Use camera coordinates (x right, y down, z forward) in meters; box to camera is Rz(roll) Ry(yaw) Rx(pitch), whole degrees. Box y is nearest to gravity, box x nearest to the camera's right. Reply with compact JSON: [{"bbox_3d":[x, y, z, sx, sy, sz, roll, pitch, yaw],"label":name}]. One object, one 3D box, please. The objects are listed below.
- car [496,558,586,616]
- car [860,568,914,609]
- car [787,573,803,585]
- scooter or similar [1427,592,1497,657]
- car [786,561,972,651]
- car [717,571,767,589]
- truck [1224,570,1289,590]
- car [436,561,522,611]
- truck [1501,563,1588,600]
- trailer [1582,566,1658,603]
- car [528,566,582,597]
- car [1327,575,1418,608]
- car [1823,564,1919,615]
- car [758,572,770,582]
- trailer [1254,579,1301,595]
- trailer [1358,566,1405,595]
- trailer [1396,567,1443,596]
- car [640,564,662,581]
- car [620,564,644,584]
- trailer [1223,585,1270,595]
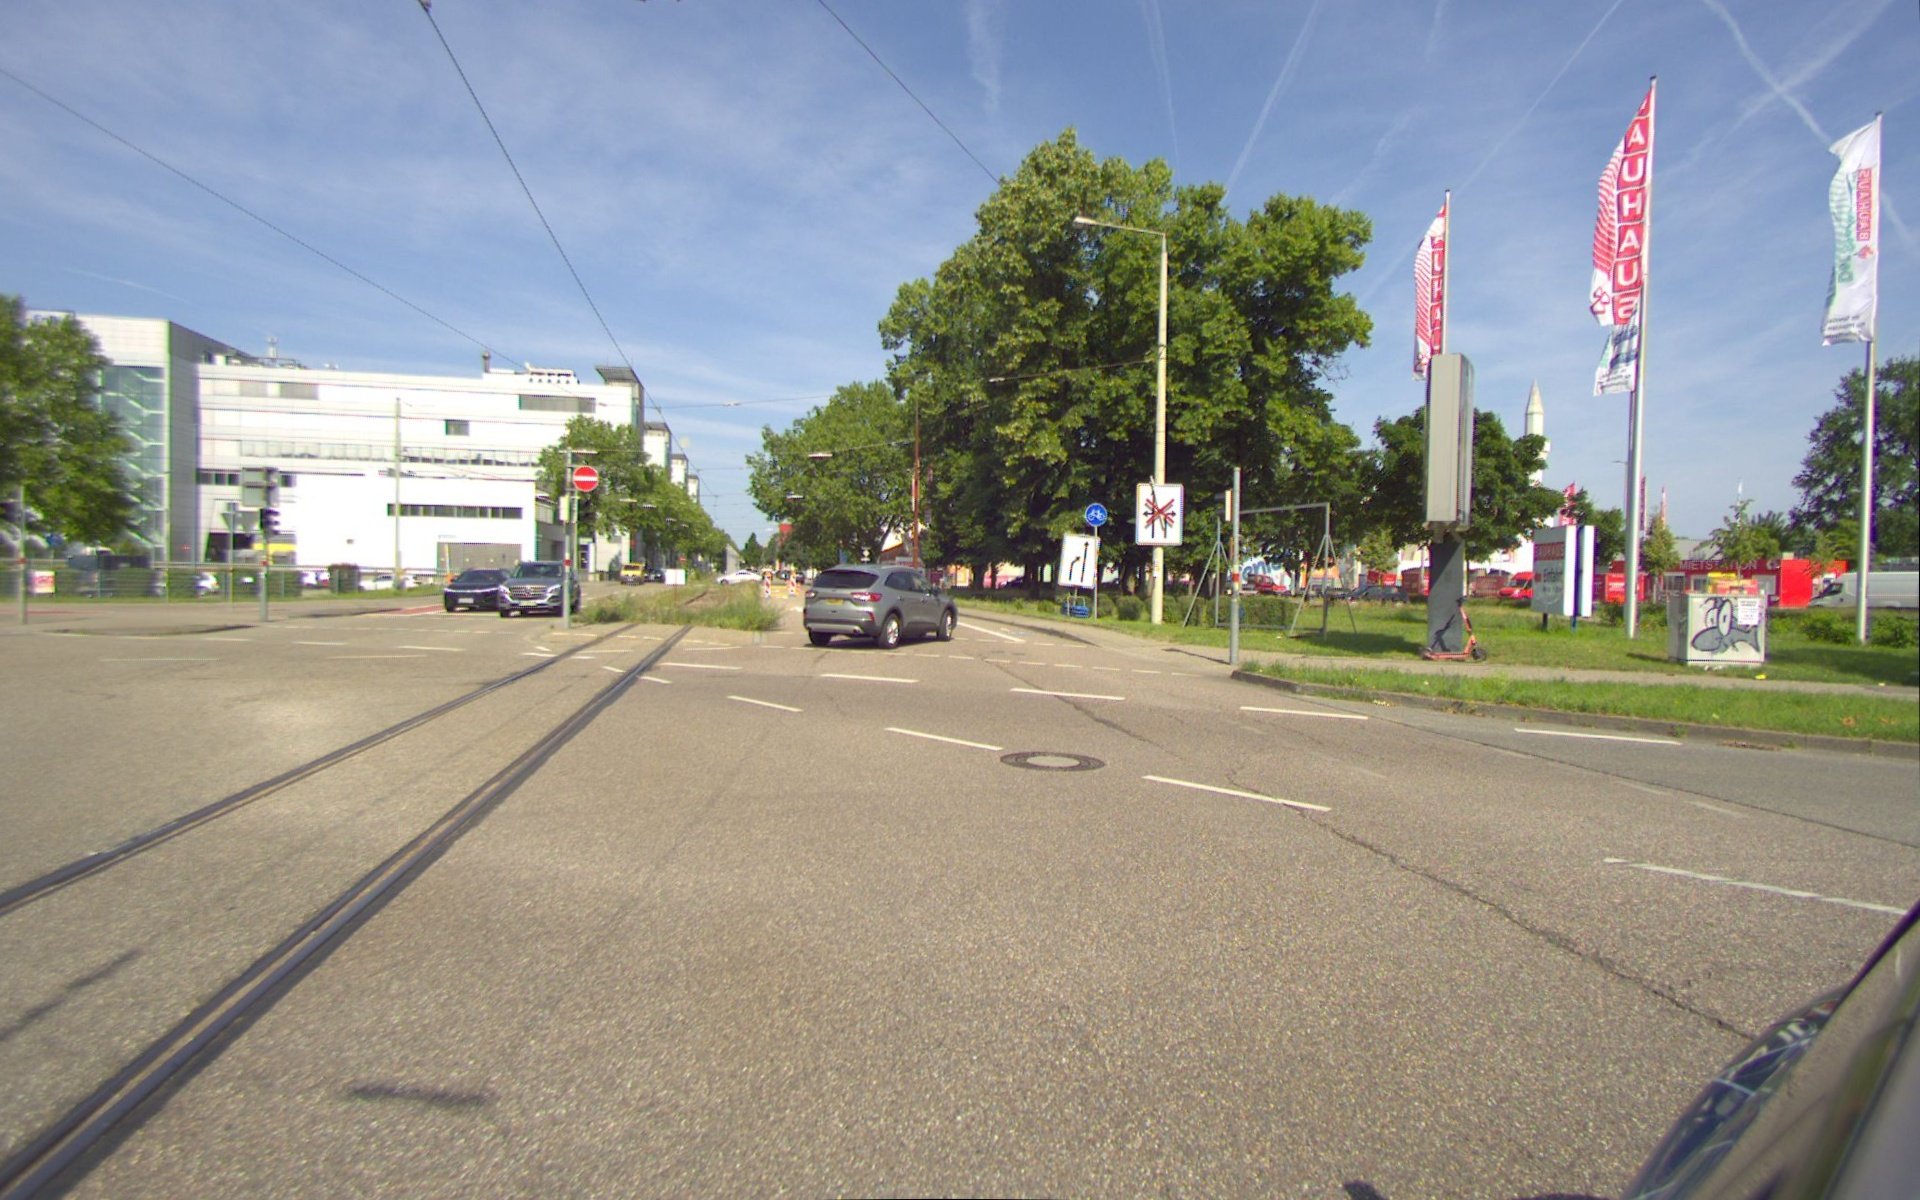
[{"bbox_3d":[-13.309,-0.442,32.405,1.876,1.710,4.637,0,1,-13],"label":"car"},{"bbox_3d":[-3.124,-0.510,42.559,1.776,1.625,4.387,0,2,-11],"label":"car"},{"bbox_3d":[-21.111,-2.699,129.371,1.812,1.529,4.353,0,1,-12],"label":"car"},{"bbox_3d":[9.292,0.439,18.758,1.111,1.140,0.422,1,1,23],"label":"scooter or similar"},{"bbox_3d":[-1.561,0.041,21.418,1.975,1.671,4.619,1,2,24],"label":"car"},{"bbox_3d":[-20.891,-1.925,96.912,4.529,1.710,1.920,0,1,-17],"label":"car"},{"bbox_3d":[29.917,-1.994,102.227,5.880,1.855,2.191,1,-1,-11],"label":"truck"},{"bbox_3d":[-17.529,-0.553,37.106,1.876,1.710,4.637,0,1,-13],"label":"car"},{"bbox_3d":[44.050,-1.377,76.242,5.903,2.642,2.024,1,1,-15],"label":"truck"},{"bbox_3d":[46.095,-1.097,70.737,4.321,2.406,1.755,1,2,-9],"label":"trailer"},{"bbox_3d":[-19.948,-0.948,49.990,1.744,1.461,4.637,0,1,-13],"label":"car"},{"bbox_3d":[21.367,-0.450,52.481,3.970,1.607,1.732,0,1,-4],"label":"car"},{"bbox_3d":[49.751,-0.603,53.834,1.977,2.573,5.701,-2,2,-14],"label":"car"},{"bbox_3d":[-30.461,-3.534,157.366,1.812,1.529,4.353,0,1,-12],"label":"car"},{"bbox_3d":[26.347,-1.084,84.215,1.557,1.303,4.422,0,1,-16],"label":"trailer"},{"bbox_3d":[36.582,-1.692,87.914,1.558,2.405,4.421,1,2,-10],"label":"trailer"},{"bbox_3d":[39.786,-1.592,87.763,1.519,2.387,4.419,1,2,-7],"label":"trailer"},{"bbox_3d":[-33.915,-3.026,111.224,1.876,1.710,4.636,0,1,-12],"label":"car"},{"bbox_3d":[-30.266,-2.423,93.449,1.744,1.832,4.637,0,1,-13],"label":"car"},{"bbox_3d":[23.478,-0.822,83.031,2.057,0.792,4.419,0,1,-8],"label":"trailer"}]
